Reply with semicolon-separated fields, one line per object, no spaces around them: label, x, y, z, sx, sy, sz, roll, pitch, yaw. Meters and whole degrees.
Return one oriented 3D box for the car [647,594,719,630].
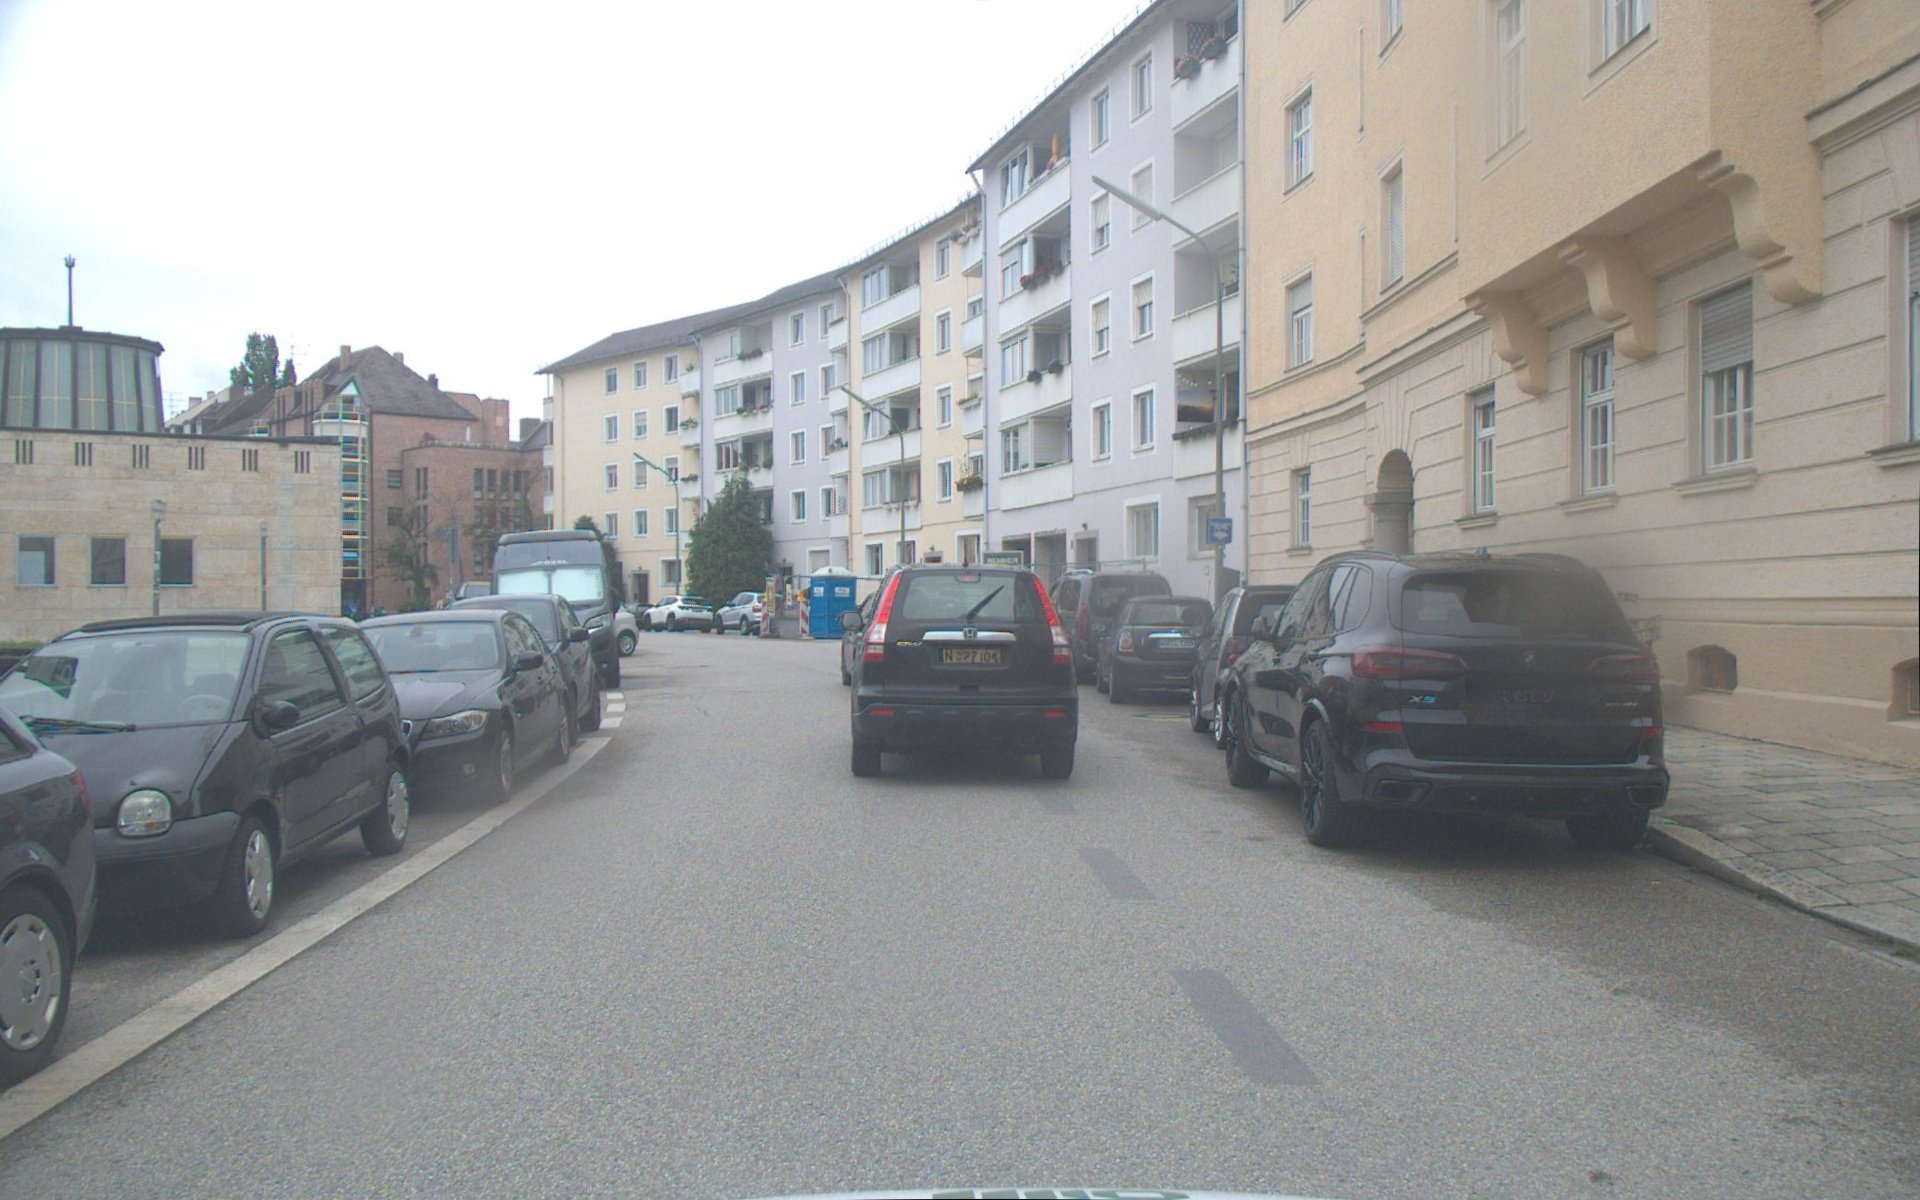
car;-12.322;0.523;73.471;1.709;1.509;3.952;0;0;-34

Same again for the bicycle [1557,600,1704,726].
bicycle;6.477;0.577;16.077;0.567;1.101;1.953;-3;1;-1

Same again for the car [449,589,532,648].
car;-14.694;0.553;51.622;1.659;1.737;4.473;0;0;-27

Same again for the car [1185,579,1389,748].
car;3.258;0.591;16.968;1.503;1.550;3.111;1;0;1

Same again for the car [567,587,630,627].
car;-17.830;0.336;81.394;1.709;1.911;3.952;0;0;-34

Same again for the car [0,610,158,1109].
car;-3.708;0.820;3.763;1.720;1.479;4.394;-2;0;-2

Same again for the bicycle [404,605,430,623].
bicycle;-38.766;0.982;118.074;1.736;1.311;0.547;0;0;-32

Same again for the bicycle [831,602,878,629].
bicycle;-4.316;0.638;67.733;1.840;1.110;0.562;0;0;-23

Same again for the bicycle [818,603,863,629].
bicycle;-5.148;0.667;71.346;1.840;1.110;0.641;0;0;-23

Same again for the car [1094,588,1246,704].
car;2.881;0.592;23.401;1.673;1.472;3.830;1;0;1

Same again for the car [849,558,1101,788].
car;-0.015;0.531;14.155;1.853;1.676;3.988;0;0;-4

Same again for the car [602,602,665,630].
car;-15.338;0.730;77.625;1.683;1.258;3.559;0;0;-34

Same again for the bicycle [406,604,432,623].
bicycle;-38.434;0.956;117.502;1.736;1.311;0.547;0;0;-32

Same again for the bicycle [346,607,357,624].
bicycle;-46.737;1.190;127.017;0.545;1.311;1.742;0;0;-30

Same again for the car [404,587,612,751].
car;-4.715;0.663;17.613;1.638;1.528;2.974;-2;0;-6

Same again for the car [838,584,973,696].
car;-0.882;0.540;24.426;1.647;1.507;4.080;0;0;-7

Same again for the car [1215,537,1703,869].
car;3.056;0.550;11.315;1.831;1.747;4.865;1;0;0

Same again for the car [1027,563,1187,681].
car;2.431;0.348;28.346;1.745;1.838;4.267;1;0;-9

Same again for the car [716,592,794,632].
car;-8.058;0.437;64.776;1.705;1.509;3.963;0;0;-28

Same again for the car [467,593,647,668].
car;-9.866;0.726;40.724;1.652;1.507;4.068;-5;0;38

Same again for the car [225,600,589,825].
car;-4.231;0.753;13.413;1.764;1.430;4.450;-2;0;-5

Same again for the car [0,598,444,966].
car;-3.933;0.766;8.529;1.624;1.479;3.310;-2;0;-4

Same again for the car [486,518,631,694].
car;-6.997;0.061;28.734;2.128;2.688;5.994;-2;1;-14
